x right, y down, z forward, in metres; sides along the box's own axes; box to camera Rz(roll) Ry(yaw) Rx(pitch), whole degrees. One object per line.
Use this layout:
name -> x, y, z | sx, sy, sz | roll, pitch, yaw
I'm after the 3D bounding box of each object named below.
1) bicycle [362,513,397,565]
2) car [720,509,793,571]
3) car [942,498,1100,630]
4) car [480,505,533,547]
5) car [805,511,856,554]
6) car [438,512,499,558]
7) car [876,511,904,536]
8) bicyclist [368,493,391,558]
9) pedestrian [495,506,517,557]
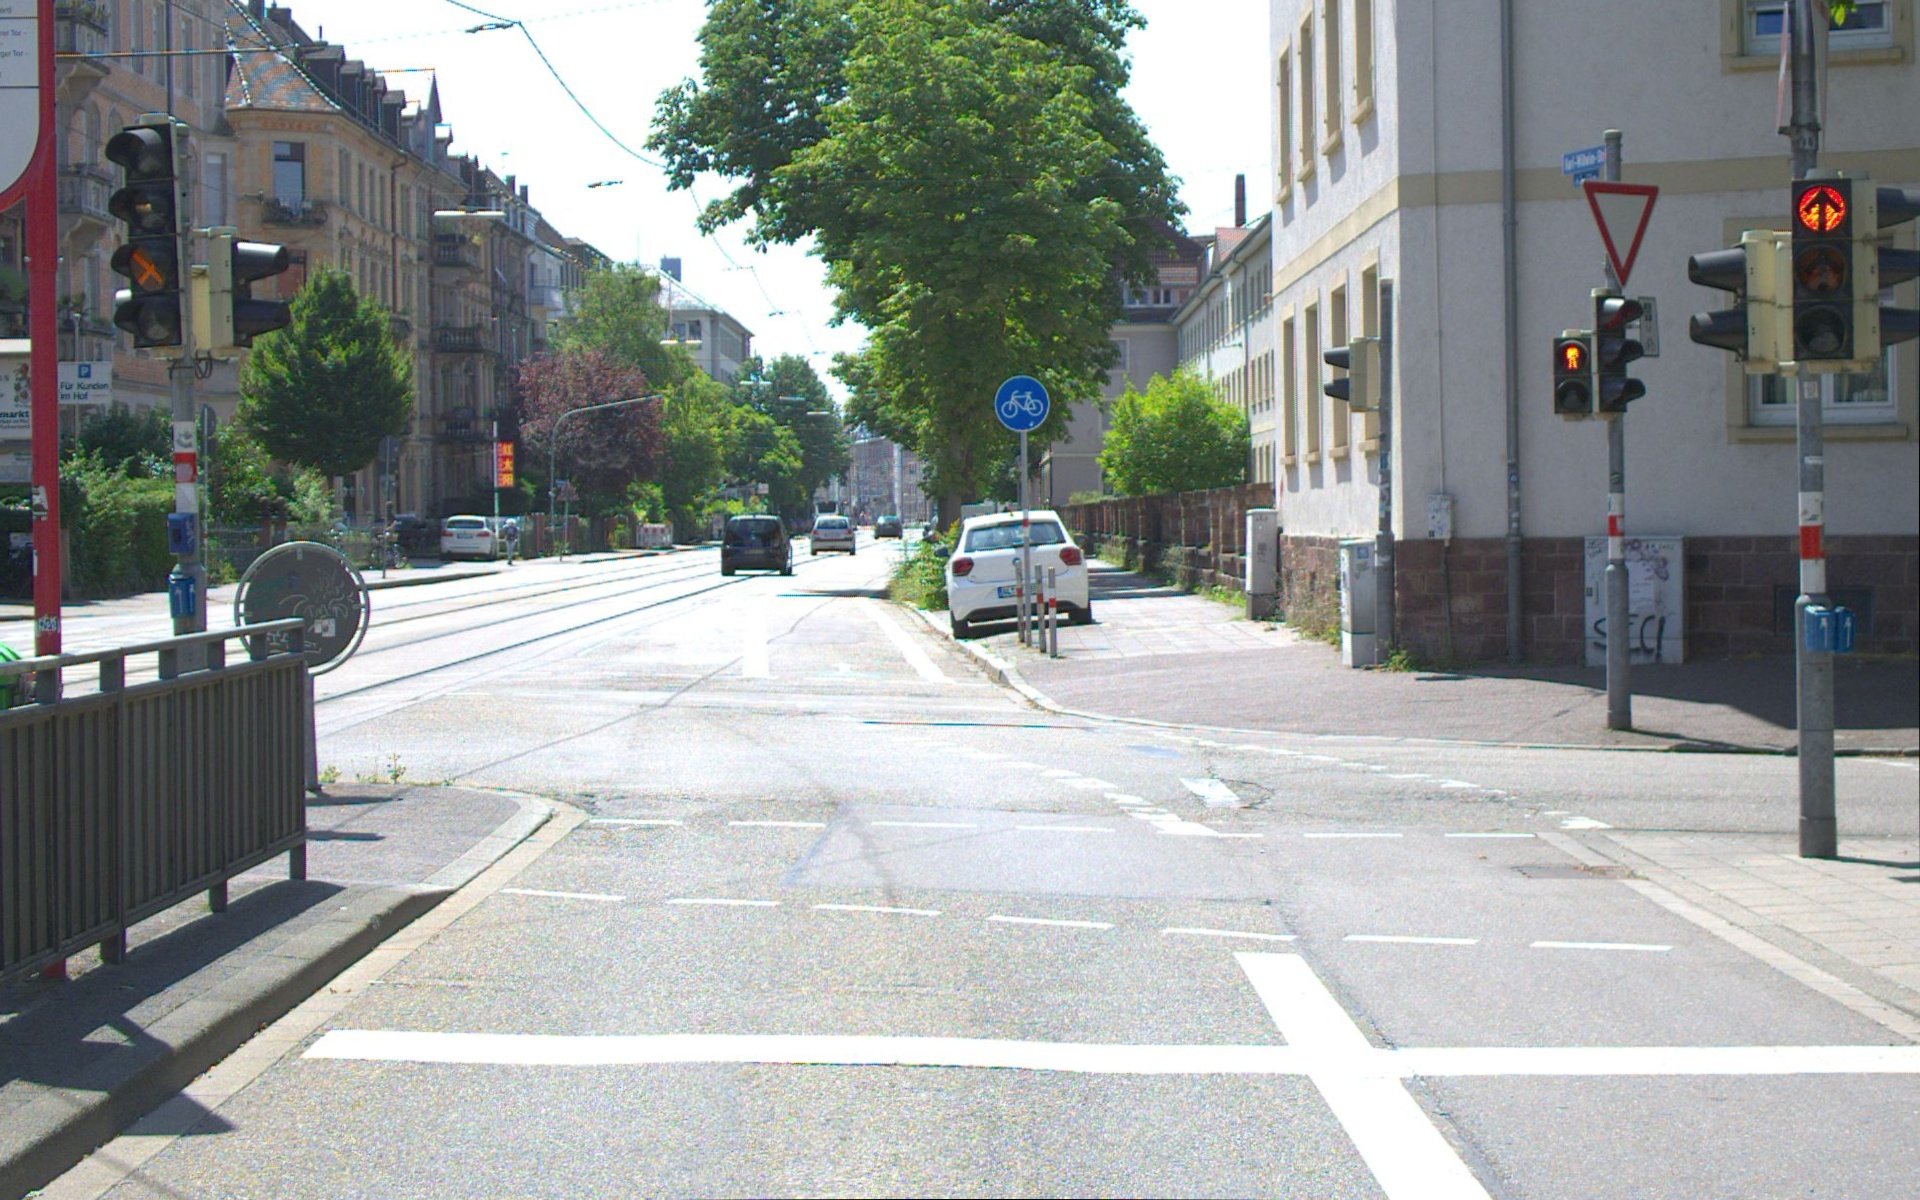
bicycle -> -15.763, -1.656, 93.404 | 0.577, 1.383, 2.501 | 0, 1, -1
car -> -4.979, -1.486, 84.466 | 1.525, 1.439, 3.365 | -2, 1, 0
car -> 0.712, -0.463, 42.821 | 1.747, 1.467, 3.939 | -4, 1, -1
car -> -17.102, -2.781, 129.754 | 1.628, 1.467, 3.564 | -4, 1, -3
car -> -4.871, -2.538, 129.745 | 1.747, 1.467, 3.939 | -4, 1, -1
car -> -17.281, -2.279, 120.976 | 1.684, 1.467, 3.939 | -4, 1, -3
car -> -4.445, -4.839, 217.692 | 1.628, 1.467, 3.564 | -4, 1, -3
bicyclist -> -15.768, -2.017, 93.344 | 0.542, 1.757, 0.498 | 0, 1, -1
pedestrian -> -15.431, -2.315, 116.872 | 0.678, 1.721, 0.677 | 0, 1, -1
